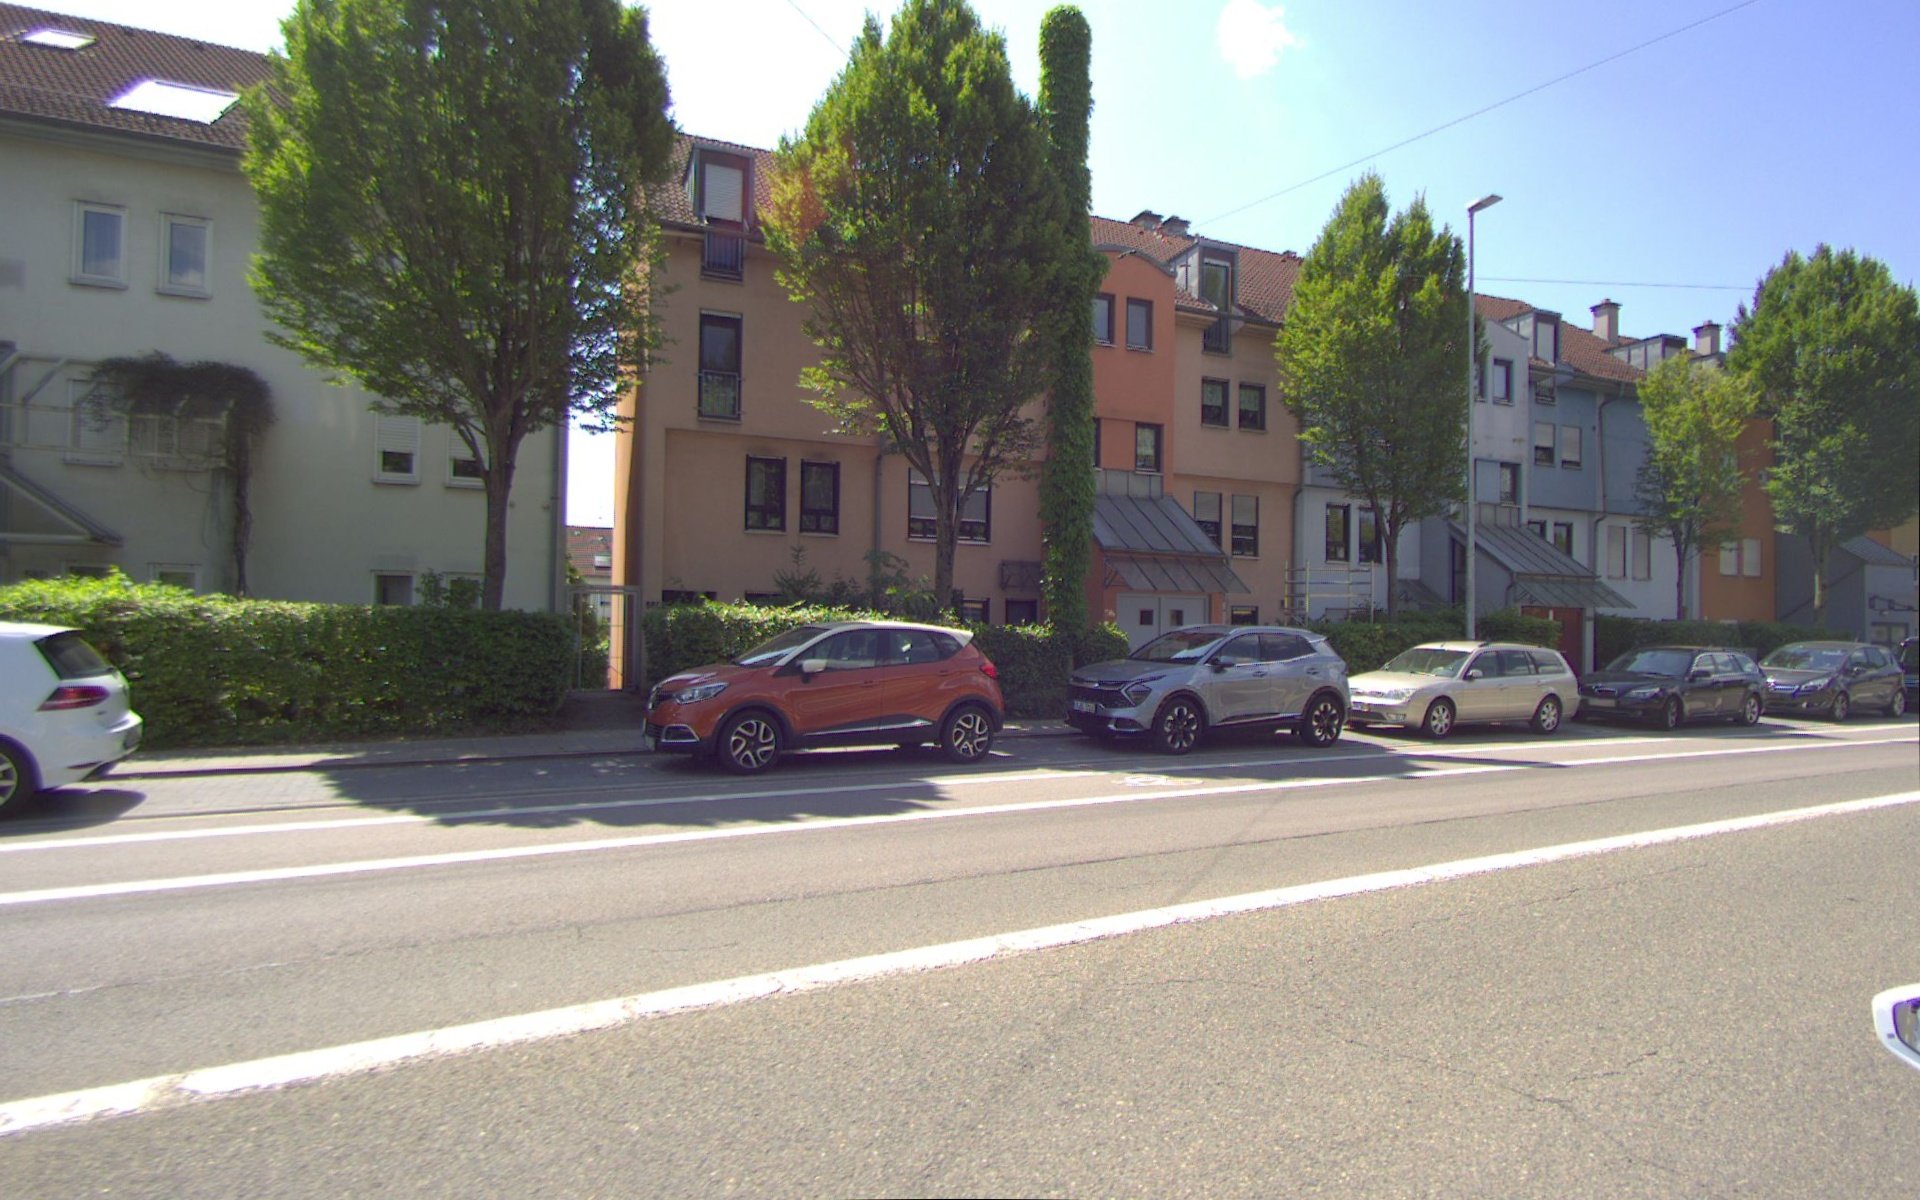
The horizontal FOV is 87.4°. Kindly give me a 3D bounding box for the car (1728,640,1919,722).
[{"bbox_3d":[18.956,1.706,22.014,4.228,1.638,1.650,1,-2,-26],"label":"car"}]

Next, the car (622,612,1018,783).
[{"bbox_3d":[-1.513,1.002,11.382,4.127,1.630,1.647,2,-2,-31],"label":"car"}]

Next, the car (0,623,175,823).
[{"bbox_3d":[-8.498,0.866,7.164,4.347,1.429,1.647,2,-2,-31],"label":"car"}]

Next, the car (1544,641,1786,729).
[{"bbox_3d":[13.714,1.581,19.485,4.900,1.466,1.735,2,0,-27],"label":"car"}]

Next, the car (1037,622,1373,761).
[{"bbox_3d":[3.480,1.177,14.021,4.629,1.631,1.649,1,1,-28],"label":"car"}]

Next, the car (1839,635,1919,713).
[{"bbox_3d":[23.556,1.735,24.271,4.822,1.738,1.745,1,-2,-26],"label":"car"}]

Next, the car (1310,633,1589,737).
[{"bbox_3d":[8.262,1.392,16.825,4.834,1.528,1.649,3,-2,-28],"label":"car"}]
